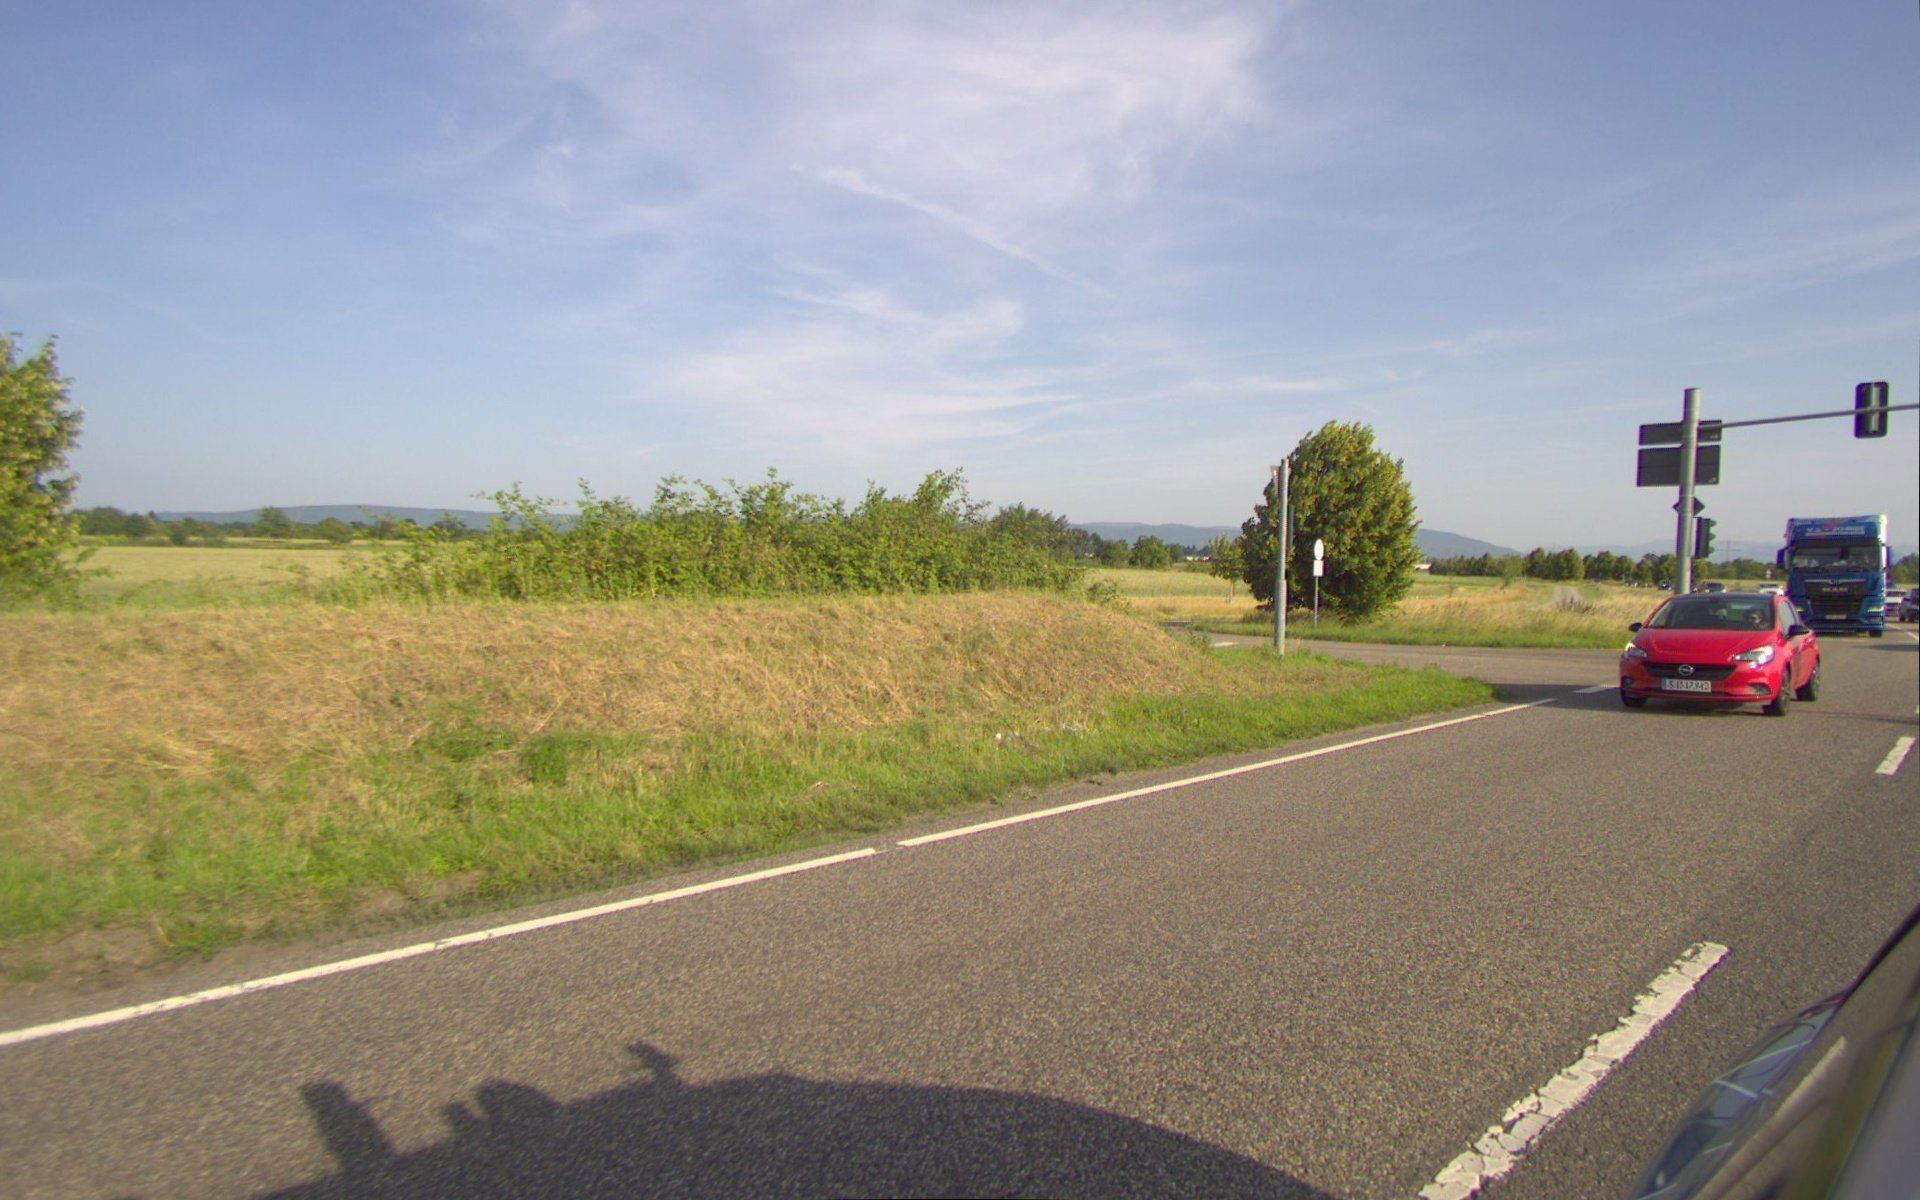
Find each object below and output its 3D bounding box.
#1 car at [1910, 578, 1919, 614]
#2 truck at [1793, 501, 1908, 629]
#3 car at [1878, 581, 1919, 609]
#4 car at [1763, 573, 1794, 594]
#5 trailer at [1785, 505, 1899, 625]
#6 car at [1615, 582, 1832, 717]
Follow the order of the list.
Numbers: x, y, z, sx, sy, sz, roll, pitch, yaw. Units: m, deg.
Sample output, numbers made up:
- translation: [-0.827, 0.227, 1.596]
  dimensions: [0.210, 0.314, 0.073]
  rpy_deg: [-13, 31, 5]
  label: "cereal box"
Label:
- translation: [43.343, -0.163, 44.515]
  dimensions: [1.822, 1.549, 3.947]
  rpy_deg: [1, 2, 37]
  label: "car"
- translation: [30.051, -1.132, 34.362]
  dimensions: [2.640, 3.969, 5.867]
  rpy_deg: [0, 1, 39]
  label: "truck"
- translation: [50.148, -0.273, 53.688]
  dimensions: [1.685, 1.432, 3.949]
  rpy_deg: [1, 2, 36]
  label: "car"
- translation: [76.996, -1.539, 95.261]
  dimensions: [1.988, 1.905, 3.950]
  rpy_deg: [2, 1, 35]
  label: "car"
- translation: [34.611, -1.284, 40.130]
  dimensions: [2.639, 4.028, 13.740]
  rpy_deg: [0, 1, 38]
  label: "trailer"
- translation: [10.027, 0.515, 13.181]
  dimensions: [3.889, 1.482, 1.663]
  rpy_deg: [-1, 1, -44]
  label: "car"
